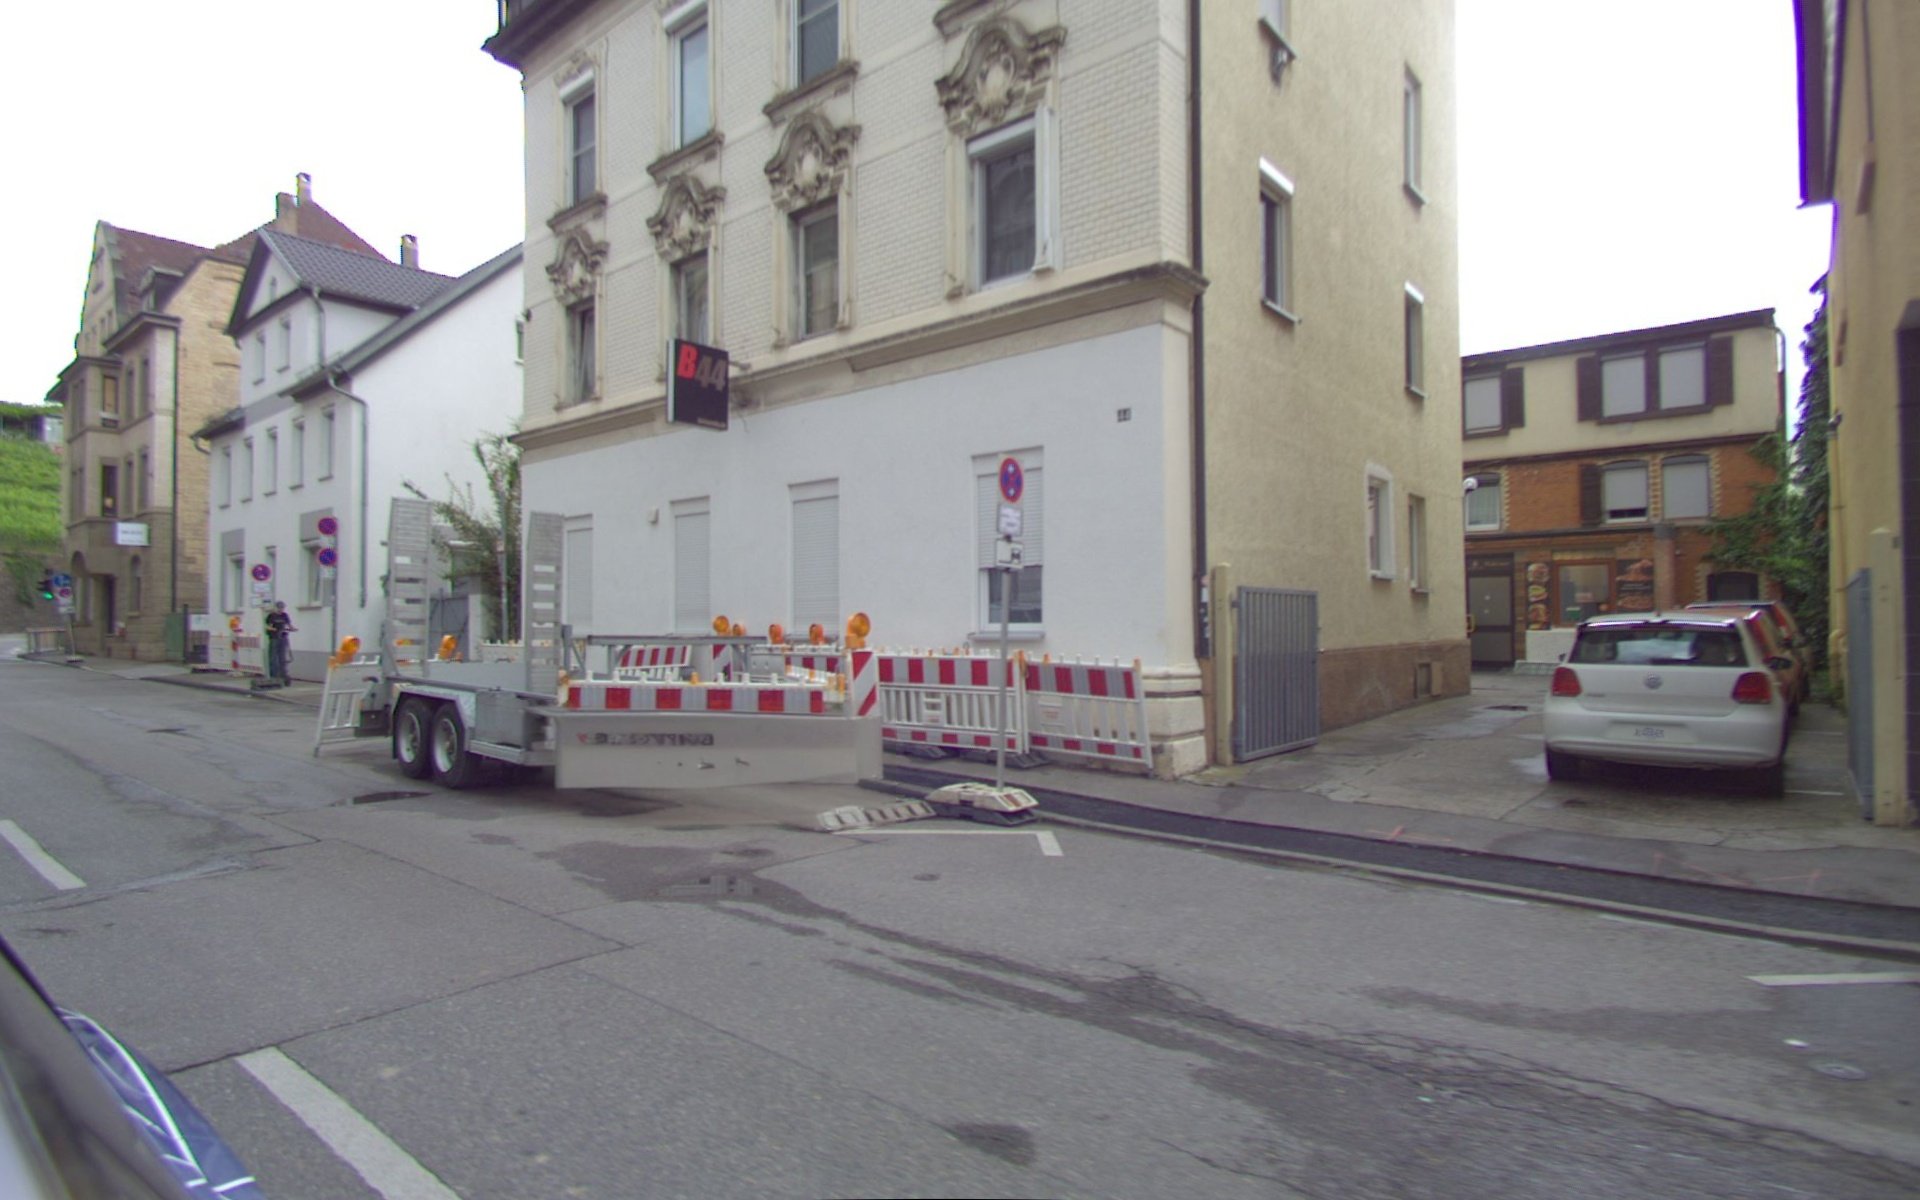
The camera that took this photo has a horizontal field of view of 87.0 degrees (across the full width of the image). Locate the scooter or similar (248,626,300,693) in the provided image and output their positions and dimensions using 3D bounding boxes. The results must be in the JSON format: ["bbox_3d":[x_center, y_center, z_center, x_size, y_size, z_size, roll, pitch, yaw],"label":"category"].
[{"bbox_3d":[-13.945,1.189,20.558,1.227,1.300,0.554,0,0,40],"label":"scooter or similar"}]

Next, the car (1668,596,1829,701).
[{"bbox_3d":[12.590,0.697,16.072,1.787,1.453,3.819,-1,-1,41],"label":"car"}]

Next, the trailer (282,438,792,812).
[{"bbox_3d":[-4.737,0.261,10.645,6.301,2.825,2.419,-1,-3,42],"label":"trailer"}]

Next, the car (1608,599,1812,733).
[{"bbox_3d":[9.581,0.734,12.837,1.787,1.453,3.481,-1,-1,41],"label":"car"}]

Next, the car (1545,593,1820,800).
[{"bbox_3d":[6.715,0.730,9.455,1.723,1.497,3.950,-1,-1,37],"label":"car"}]

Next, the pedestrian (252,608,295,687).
[{"bbox_3d":[-13.935,0.946,20.546,0.607,1.578,0.594,0,0,41],"label":"pedestrian"}]
